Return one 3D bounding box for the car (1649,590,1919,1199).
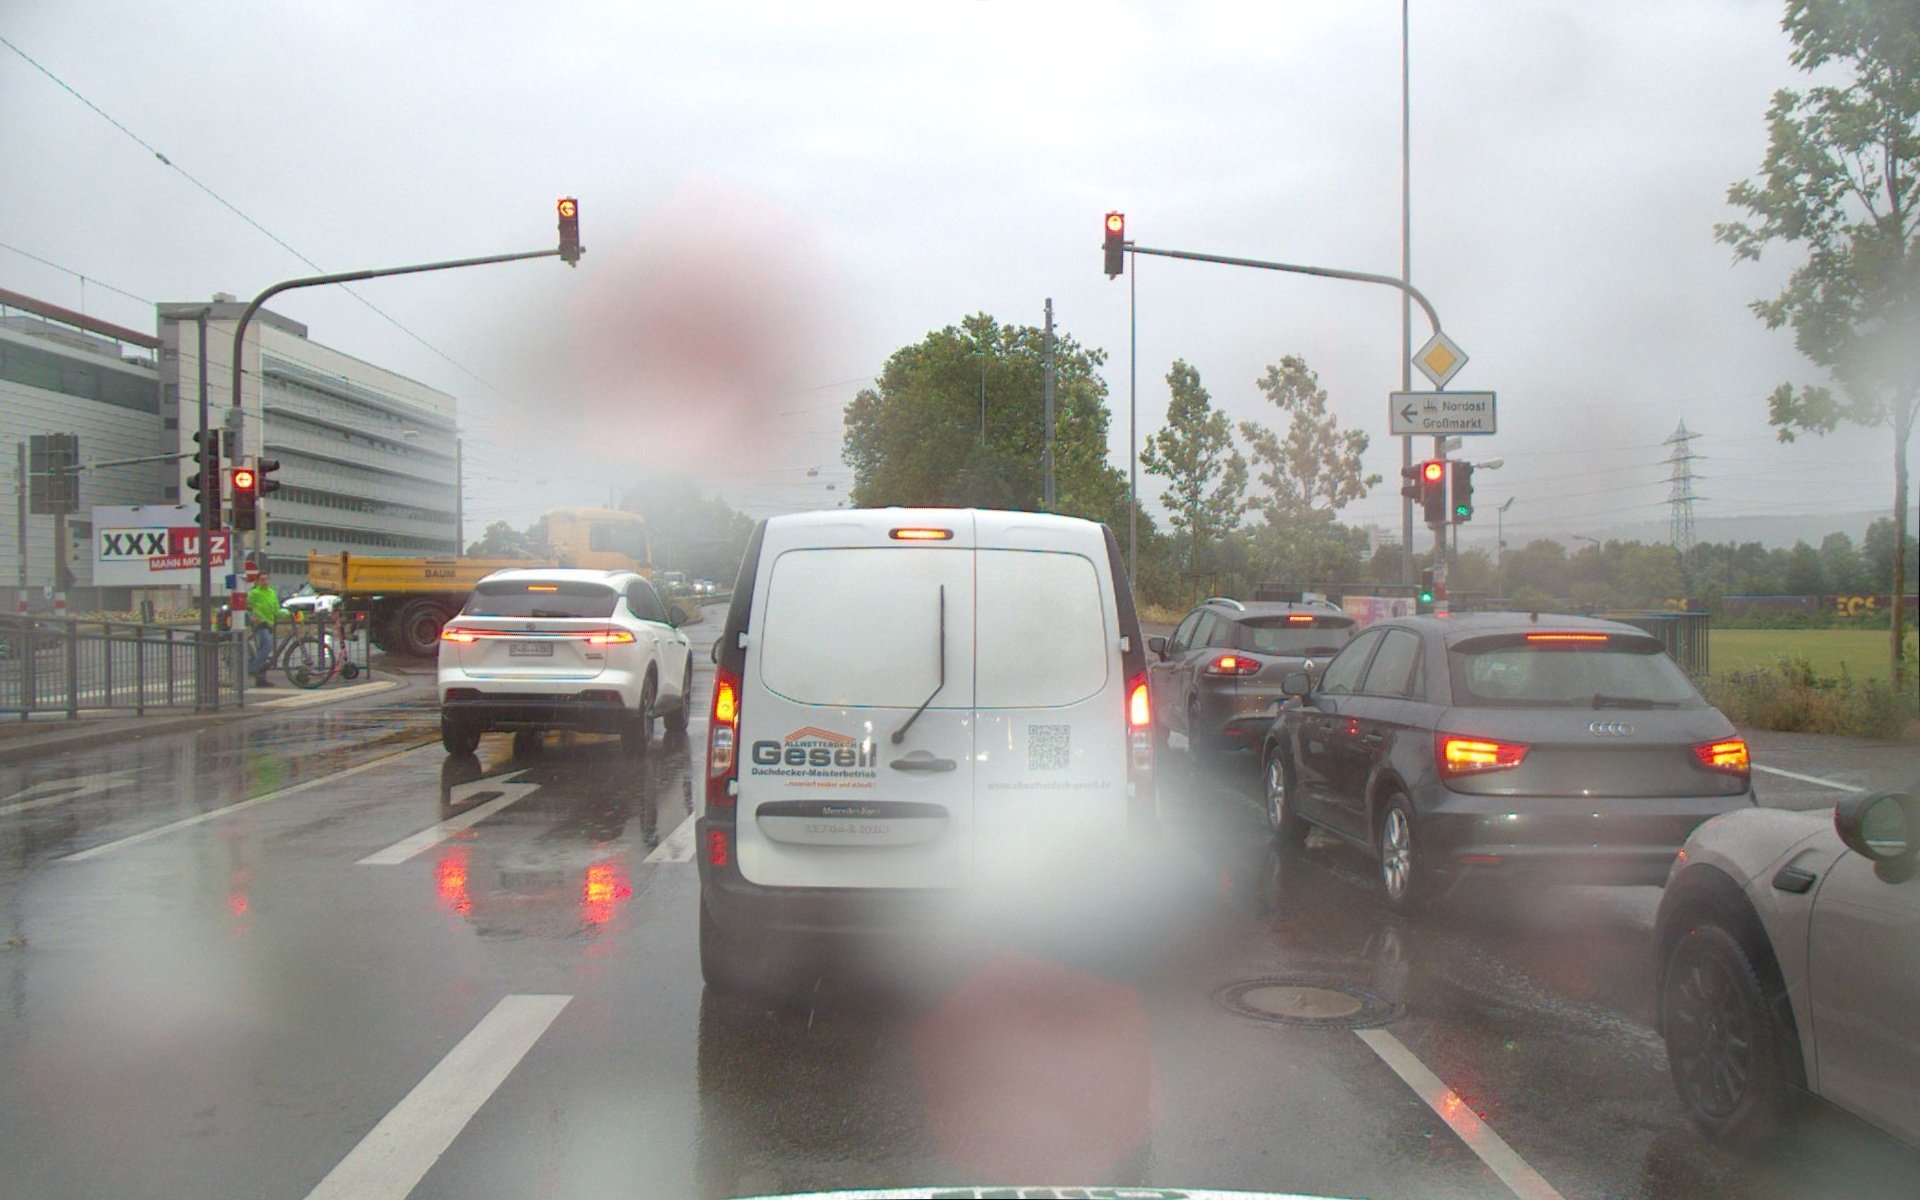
[{"bbox_3d":[2.971,0.761,3.183,1.679,1.534,3.622,1,0,-2],"label":"car"}]

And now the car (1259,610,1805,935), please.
[{"bbox_3d":[2.802,0.757,8.949,1.596,1.368,3.622,1,0,-2],"label":"car"}]

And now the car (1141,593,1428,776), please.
[{"bbox_3d":[2.883,0.689,15.517,1.822,1.453,3.806,1,1,-2],"label":"car"}]

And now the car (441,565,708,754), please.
[{"bbox_3d":[-3.571,0.477,16.069,1.694,1.562,4.296,1,1,-2],"label":"car"}]

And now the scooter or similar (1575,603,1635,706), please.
[{"bbox_3d":[7.621,0.623,19.578,0.240,1.178,1.186,1,0,1],"label":"scooter or similar"}]

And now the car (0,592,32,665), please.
[{"bbox_3d":[-20.824,0.529,32.962,3.670,1.435,1.833,1,0,-15],"label":"car"}]

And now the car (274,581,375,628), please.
[{"bbox_3d":[-21.713,0.150,56.668,1.662,1.518,3.878,1,0,5],"label":"car"}]

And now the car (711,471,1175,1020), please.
[{"bbox_3d":[-0.081,0.489,7.515,1.534,1.819,3.999,0,0,-1],"label":"car"}]

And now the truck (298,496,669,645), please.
[{"bbox_3d":[-9.907,-0.525,34.826,7.066,2.865,2.607,1,0,-36],"label":"truck"}]

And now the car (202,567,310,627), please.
[{"bbox_3d":[-25.298,-0.107,59.589,1.952,2.049,4.002,1,0,3],"label":"car"}]

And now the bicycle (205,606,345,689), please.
[{"bbox_3d":[-9.630,0.663,23.270,1.716,1.052,0.414,4,-1,-3],"label":"bicycle"}]
